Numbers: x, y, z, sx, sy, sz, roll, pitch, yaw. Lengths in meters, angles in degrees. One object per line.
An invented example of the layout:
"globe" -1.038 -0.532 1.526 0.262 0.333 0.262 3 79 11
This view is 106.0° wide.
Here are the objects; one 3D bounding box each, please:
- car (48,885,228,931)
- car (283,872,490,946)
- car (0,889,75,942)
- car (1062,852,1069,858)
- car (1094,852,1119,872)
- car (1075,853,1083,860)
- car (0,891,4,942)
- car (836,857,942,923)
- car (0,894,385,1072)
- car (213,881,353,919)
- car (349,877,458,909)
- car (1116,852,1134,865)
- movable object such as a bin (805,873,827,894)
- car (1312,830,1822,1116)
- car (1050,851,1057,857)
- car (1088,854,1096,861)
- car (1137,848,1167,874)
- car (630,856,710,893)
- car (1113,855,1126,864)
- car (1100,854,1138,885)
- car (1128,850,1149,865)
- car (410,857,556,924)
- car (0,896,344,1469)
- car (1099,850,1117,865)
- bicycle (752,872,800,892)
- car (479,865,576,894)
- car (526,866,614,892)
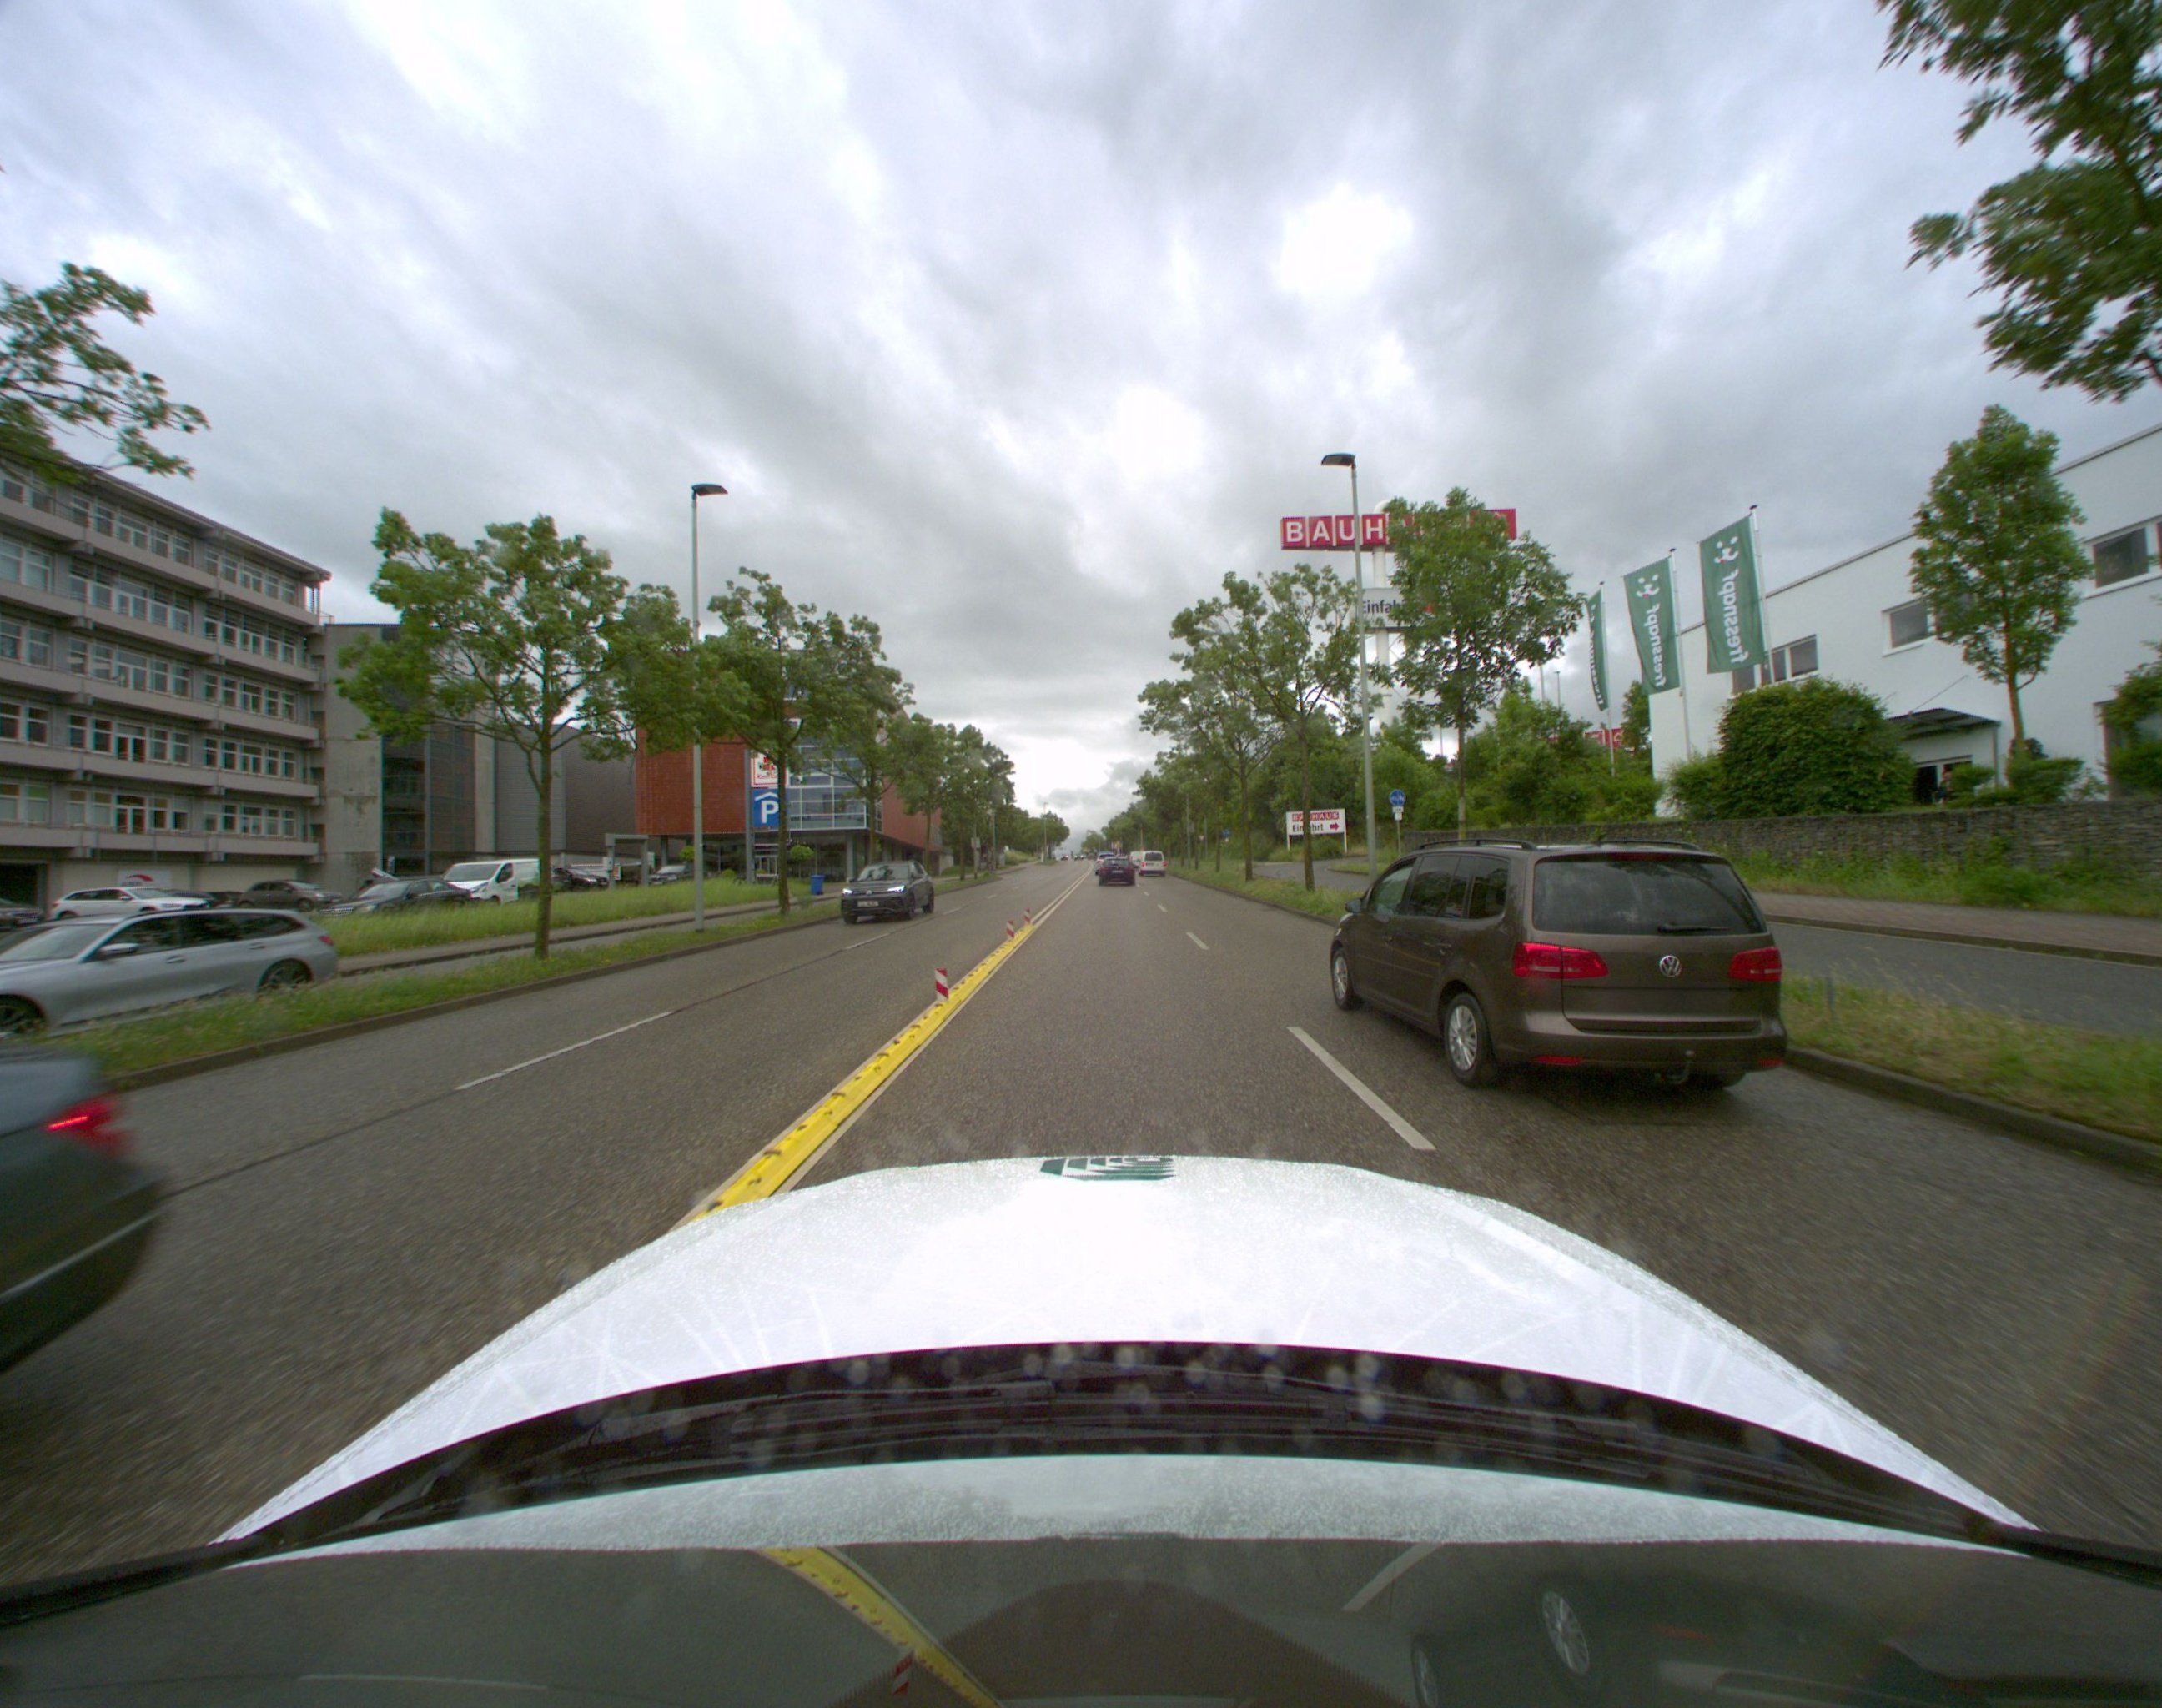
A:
"car" -35.729 2.010 30.976 4.272 1.510 1.843 -1 1 -7
"car" -20.536 1.531 24.454 2.034 1.762 4.942 -1 1 -2
"car" -35.201 1.940 25.649 4.173 1.510 1.941 -1 1 -7
"car" -3.809 0.239 200.238 1.789 1.510 3.997 0 -1 -2
"car" 1.954 0.600 62.911 1.788 1.510 4.000 0 -1 0
"car" -0.520 0.505 186.122 1.789 1.510 3.997 0 -1 -2
"car" -34.562 1.916 23.159 4.606 1.510 2.020 -1 1 -7
"car" -5.434 0.969 23.638 1.781 1.614 4.438 -4 0 2
"car" -11.661 1.455 10.158 1.860 1.553 4.576 -4 0 1
"car" -36.270 2.089 37.112 4.272 1.510 1.843 -1 1 -7
"car" -36.405 2.082 43.841 4.105 1.510 1.815 -1 1 -7
"car" 5.091 0.559 94.257 1.789 1.510 3.997 0 -1 -2
"movable object such as a bin" -14.406 1.592 44.251 0.816 1.079 1.086 0 0 2
"car" 3.319 0.672 6.669 1.680 1.581 4.218 -1 0 0
"car" -7.313 0.086 214.739 1.789 1.510 3.997 0 -1 -2
"car" 2.625 0.855 187.620 1.788 1.510 3.999 0 -1 0
"car" 5.016 0.496 58.045 1.821 1.759 4.001 0 0 1
"car" -22.629 1.084 45.094 2.131 1.773 4.606 -1 1 -1
"car" 6.134 0.907 131.435 1.789 1.510 3.997 0 -1 -2
"car" 1.945 0.747 42.436 1.820 1.468 4.002 -2 0 2
"car" 5.685 0.348 81.182 1.788 1.510 4.000 0 -1 0
"car" -21.895 1.238 30.136 2.112 2.096 5.109 -1 1 -8
"car" -3.657 0.903 0.823 1.661 1.410 4.379 -4 0 2
"car" 2.794 0.403 85.170 1.788 1.510 4.001 0 -1 1
"bicycle" -16.228 1.462 43.321 2.067 0.935 1.095 3 -1 5
"car" -31.758 1.452 46.797 4.187 1.510 1.815 -1 1 -7
"car" -32.009 1.545 51.111 4.187 1.510 1.897 -1 1 -7
